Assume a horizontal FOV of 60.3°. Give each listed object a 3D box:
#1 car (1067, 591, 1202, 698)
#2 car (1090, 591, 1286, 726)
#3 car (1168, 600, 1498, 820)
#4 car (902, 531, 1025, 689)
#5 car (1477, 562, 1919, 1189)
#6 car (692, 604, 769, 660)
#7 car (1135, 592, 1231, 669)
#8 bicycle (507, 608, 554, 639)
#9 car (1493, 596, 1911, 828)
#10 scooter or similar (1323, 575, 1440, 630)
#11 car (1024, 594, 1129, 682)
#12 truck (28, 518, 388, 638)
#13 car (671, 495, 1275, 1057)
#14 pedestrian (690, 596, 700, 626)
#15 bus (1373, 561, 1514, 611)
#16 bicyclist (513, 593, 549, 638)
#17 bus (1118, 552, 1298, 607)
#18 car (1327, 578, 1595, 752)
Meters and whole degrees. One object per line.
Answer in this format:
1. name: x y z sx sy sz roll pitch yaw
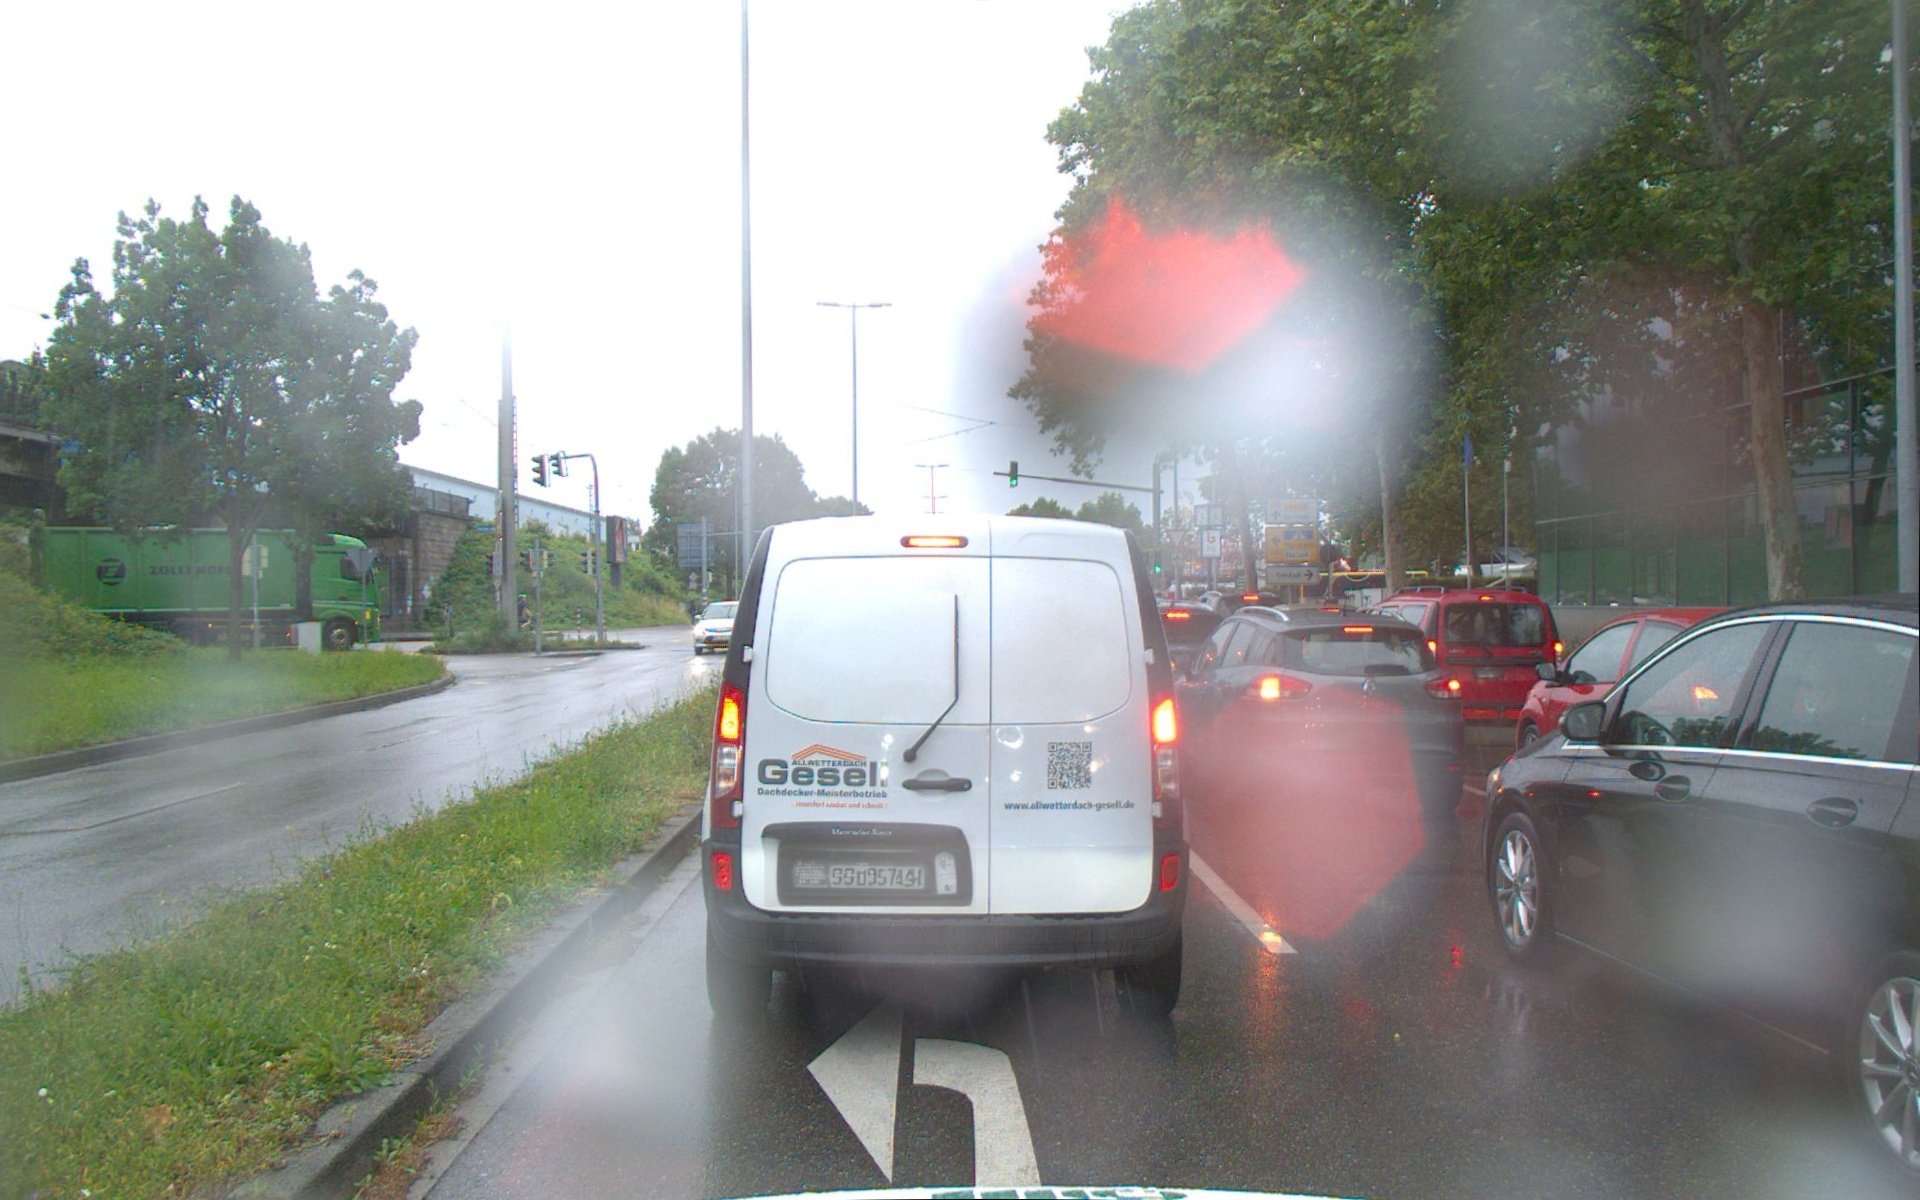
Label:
1. car: 2.870 0.687 27.889 1.816 1.678 3.842 0 0 -1
2. car: 2.666 0.635 20.189 1.816 1.486 3.842 0 0 -1
3. car: 2.768 0.747 13.113 1.649 1.433 3.842 1 0 -2
4. car: 0.027 0.126 26.406 1.816 2.336 3.842 0 0 -1
5. car: 3.245 0.696 5.444 1.712 1.582 4.089 0 0 -2
6. car: -6.759 0.917 49.048 1.779 1.488 3.999 -3 0 -2
7. car: 5.167 0.688 38.698 1.674 1.678 3.842 1 0 -1
8. bicycle: -14.377 0.771 55.327 1.027 0.968 2.865 -1 1 -25
9. car: 5.390 0.729 12.481 1.537 1.488 3.388 0 0 -2
10. scooter or similar: 19.661 0.105 77.358 1.878 2.489 5.239 0 0 -41
11. car: 2.304 0.739 33.543 1.816 1.678 3.842 0 0 -1
12. truck: -23.119 -0.669 51.351 9.957 3.430 2.316 0 0 -37
13. car: 0.012 0.548 7.638 1.953 1.807 4.584 0 0 -1
14. pedestrian: -15.367 0.633 95.854 0.532 1.746 0.563 1 -1 -5
15. bus: 35.902 -1.060 122.468 11.839 3.483 2.459 -1 1 -29
16. bicyclist: -14.344 0.519 55.260 1.028 1.475 0.723 -1 1 -26
17. bus: 16.584 -1.389 111.149 11.727 3.483 2.315 -1 1 -1
18. car: 5.511 0.673 18.768 1.676 1.724 4.271 1 -1 -1
